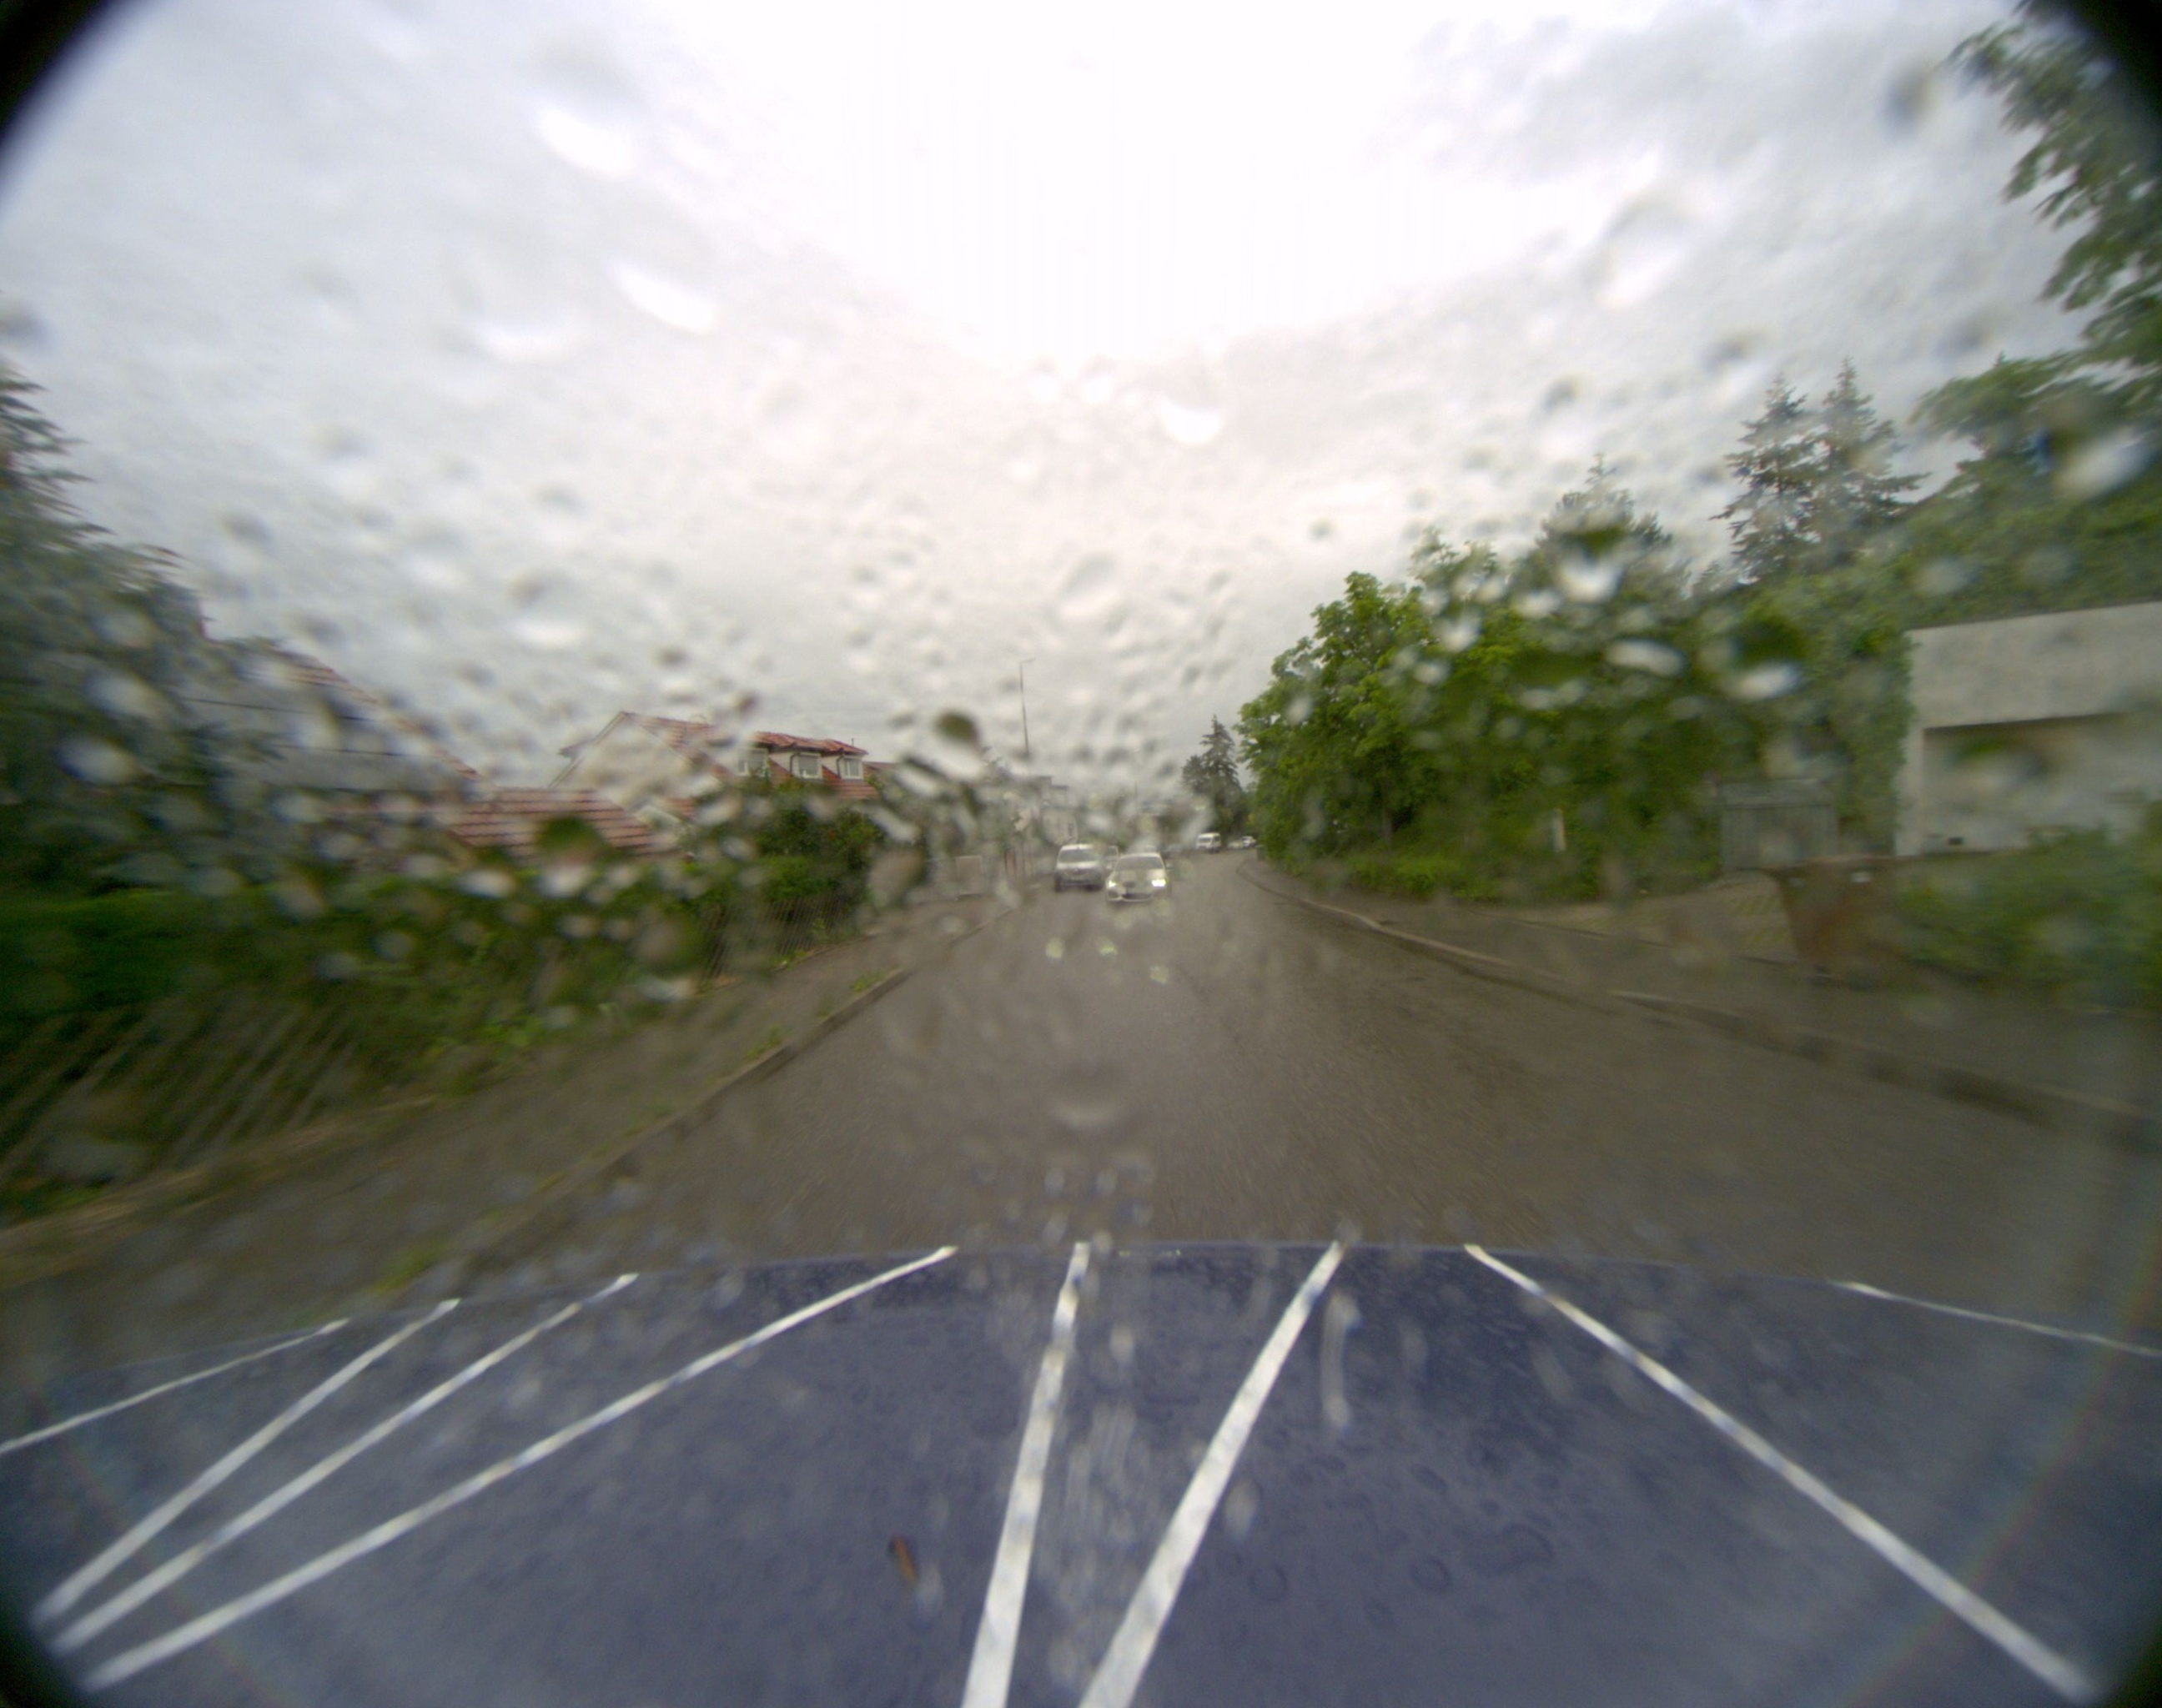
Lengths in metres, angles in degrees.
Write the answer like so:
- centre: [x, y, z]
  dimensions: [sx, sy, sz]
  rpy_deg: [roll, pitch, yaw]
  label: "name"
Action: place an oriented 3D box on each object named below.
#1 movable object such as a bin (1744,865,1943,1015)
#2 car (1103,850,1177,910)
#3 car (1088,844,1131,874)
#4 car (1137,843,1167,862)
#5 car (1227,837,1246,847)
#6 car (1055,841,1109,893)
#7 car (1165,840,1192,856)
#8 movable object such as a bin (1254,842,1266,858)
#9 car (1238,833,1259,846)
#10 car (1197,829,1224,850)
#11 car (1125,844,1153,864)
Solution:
- centre: [6.142, 0.673, 6.180]
  dimensions: [0.696, 1.083, 0.804]
  rpy_deg: [-5, -3, 5]
  label: "movable object such as a bin"
- centre: [1.823, 0.703, 22.358]
  dimensions: [1.797, 1.455, 4.002]
  rpy_deg: [-2, 2, 9]
  label: "car"
- centre: [1.714, 0.258, 43.772]
  dimensions: [1.807, 1.617, 4.290]
  rpy_deg: [0, 1, 11]
  label: "car"
- centre: [5.999, -0.142, 63.523]
  dimensions: [1.771, 1.459, 4.238]
  rpy_deg: [0, 1, 15]
  label: "car"
- centre: [22.616, -1.751, 110.246]
  dimensions: [1.751, 1.415, 4.006]
  rpy_deg: [-1, 2, 26]
  label: "car"
- centre: [0.118, 0.447, 30.417]
  dimensions: [1.783, 1.793, 4.707]
  rpy_deg: [-3, 1, 4]
  label: "car"
- centre: [10.031, -0.596, 77.849]
  dimensions: [1.860, 1.518, 5.069]
  rpy_deg: [0, 1, 17]
  label: "car"
- centre: [12.525, -0.266, 53.109]
  dimensions: [0.770, 1.062, 0.691]
  rpy_deg: [-2, 2, 8]
  label: "movable object such as a bin"
- centre: [25.538, -2.252, 115.948]
  dimensions: [1.866, 1.808, 4.869]
  rpy_deg: [-1, 2, 27]
  label: "car"
- centre: [16.346, -1.845, 95.751]
  dimensions: [2.074, 2.536, 6.189]
  rpy_deg: [-1, 2, 22]
  label: "car"
- centre: [4.508, -0.045, 58.256]
  dimensions: [1.662, 1.459, 3.766]
  rpy_deg: [0, 1, 12]
  label: "car"
